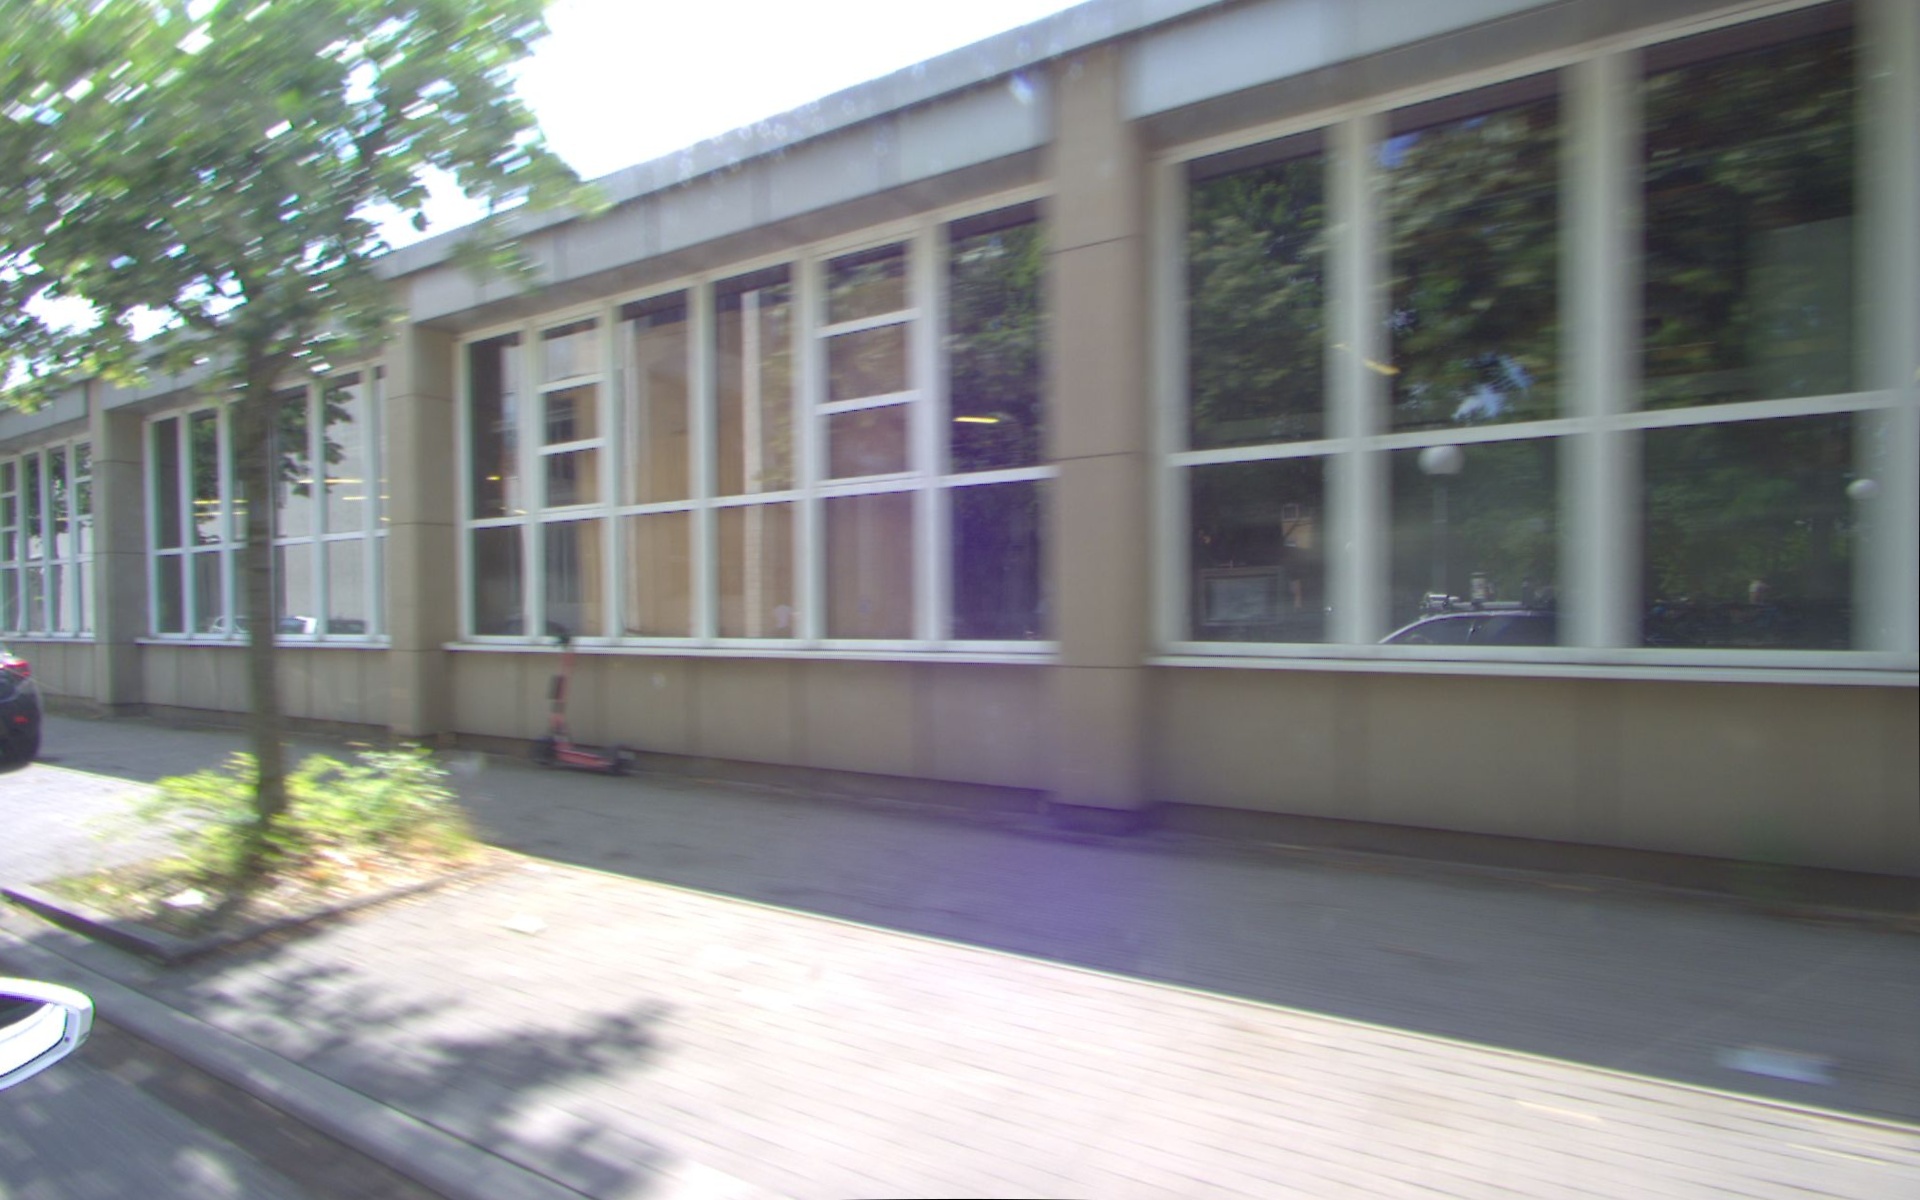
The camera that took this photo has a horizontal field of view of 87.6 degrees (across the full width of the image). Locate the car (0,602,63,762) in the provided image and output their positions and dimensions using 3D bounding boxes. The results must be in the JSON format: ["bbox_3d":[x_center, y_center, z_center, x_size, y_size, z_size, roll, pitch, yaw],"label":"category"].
[{"bbox_3d":[-11.161,0.812,10.243,4.398,1.496,1.776,-1,1,32],"label":"car"}]

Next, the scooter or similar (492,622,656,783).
[{"bbox_3d":[-3.323,0.831,8.590,1.464,1.266,0.509,0,2,32],"label":"scooter or similar"}]
